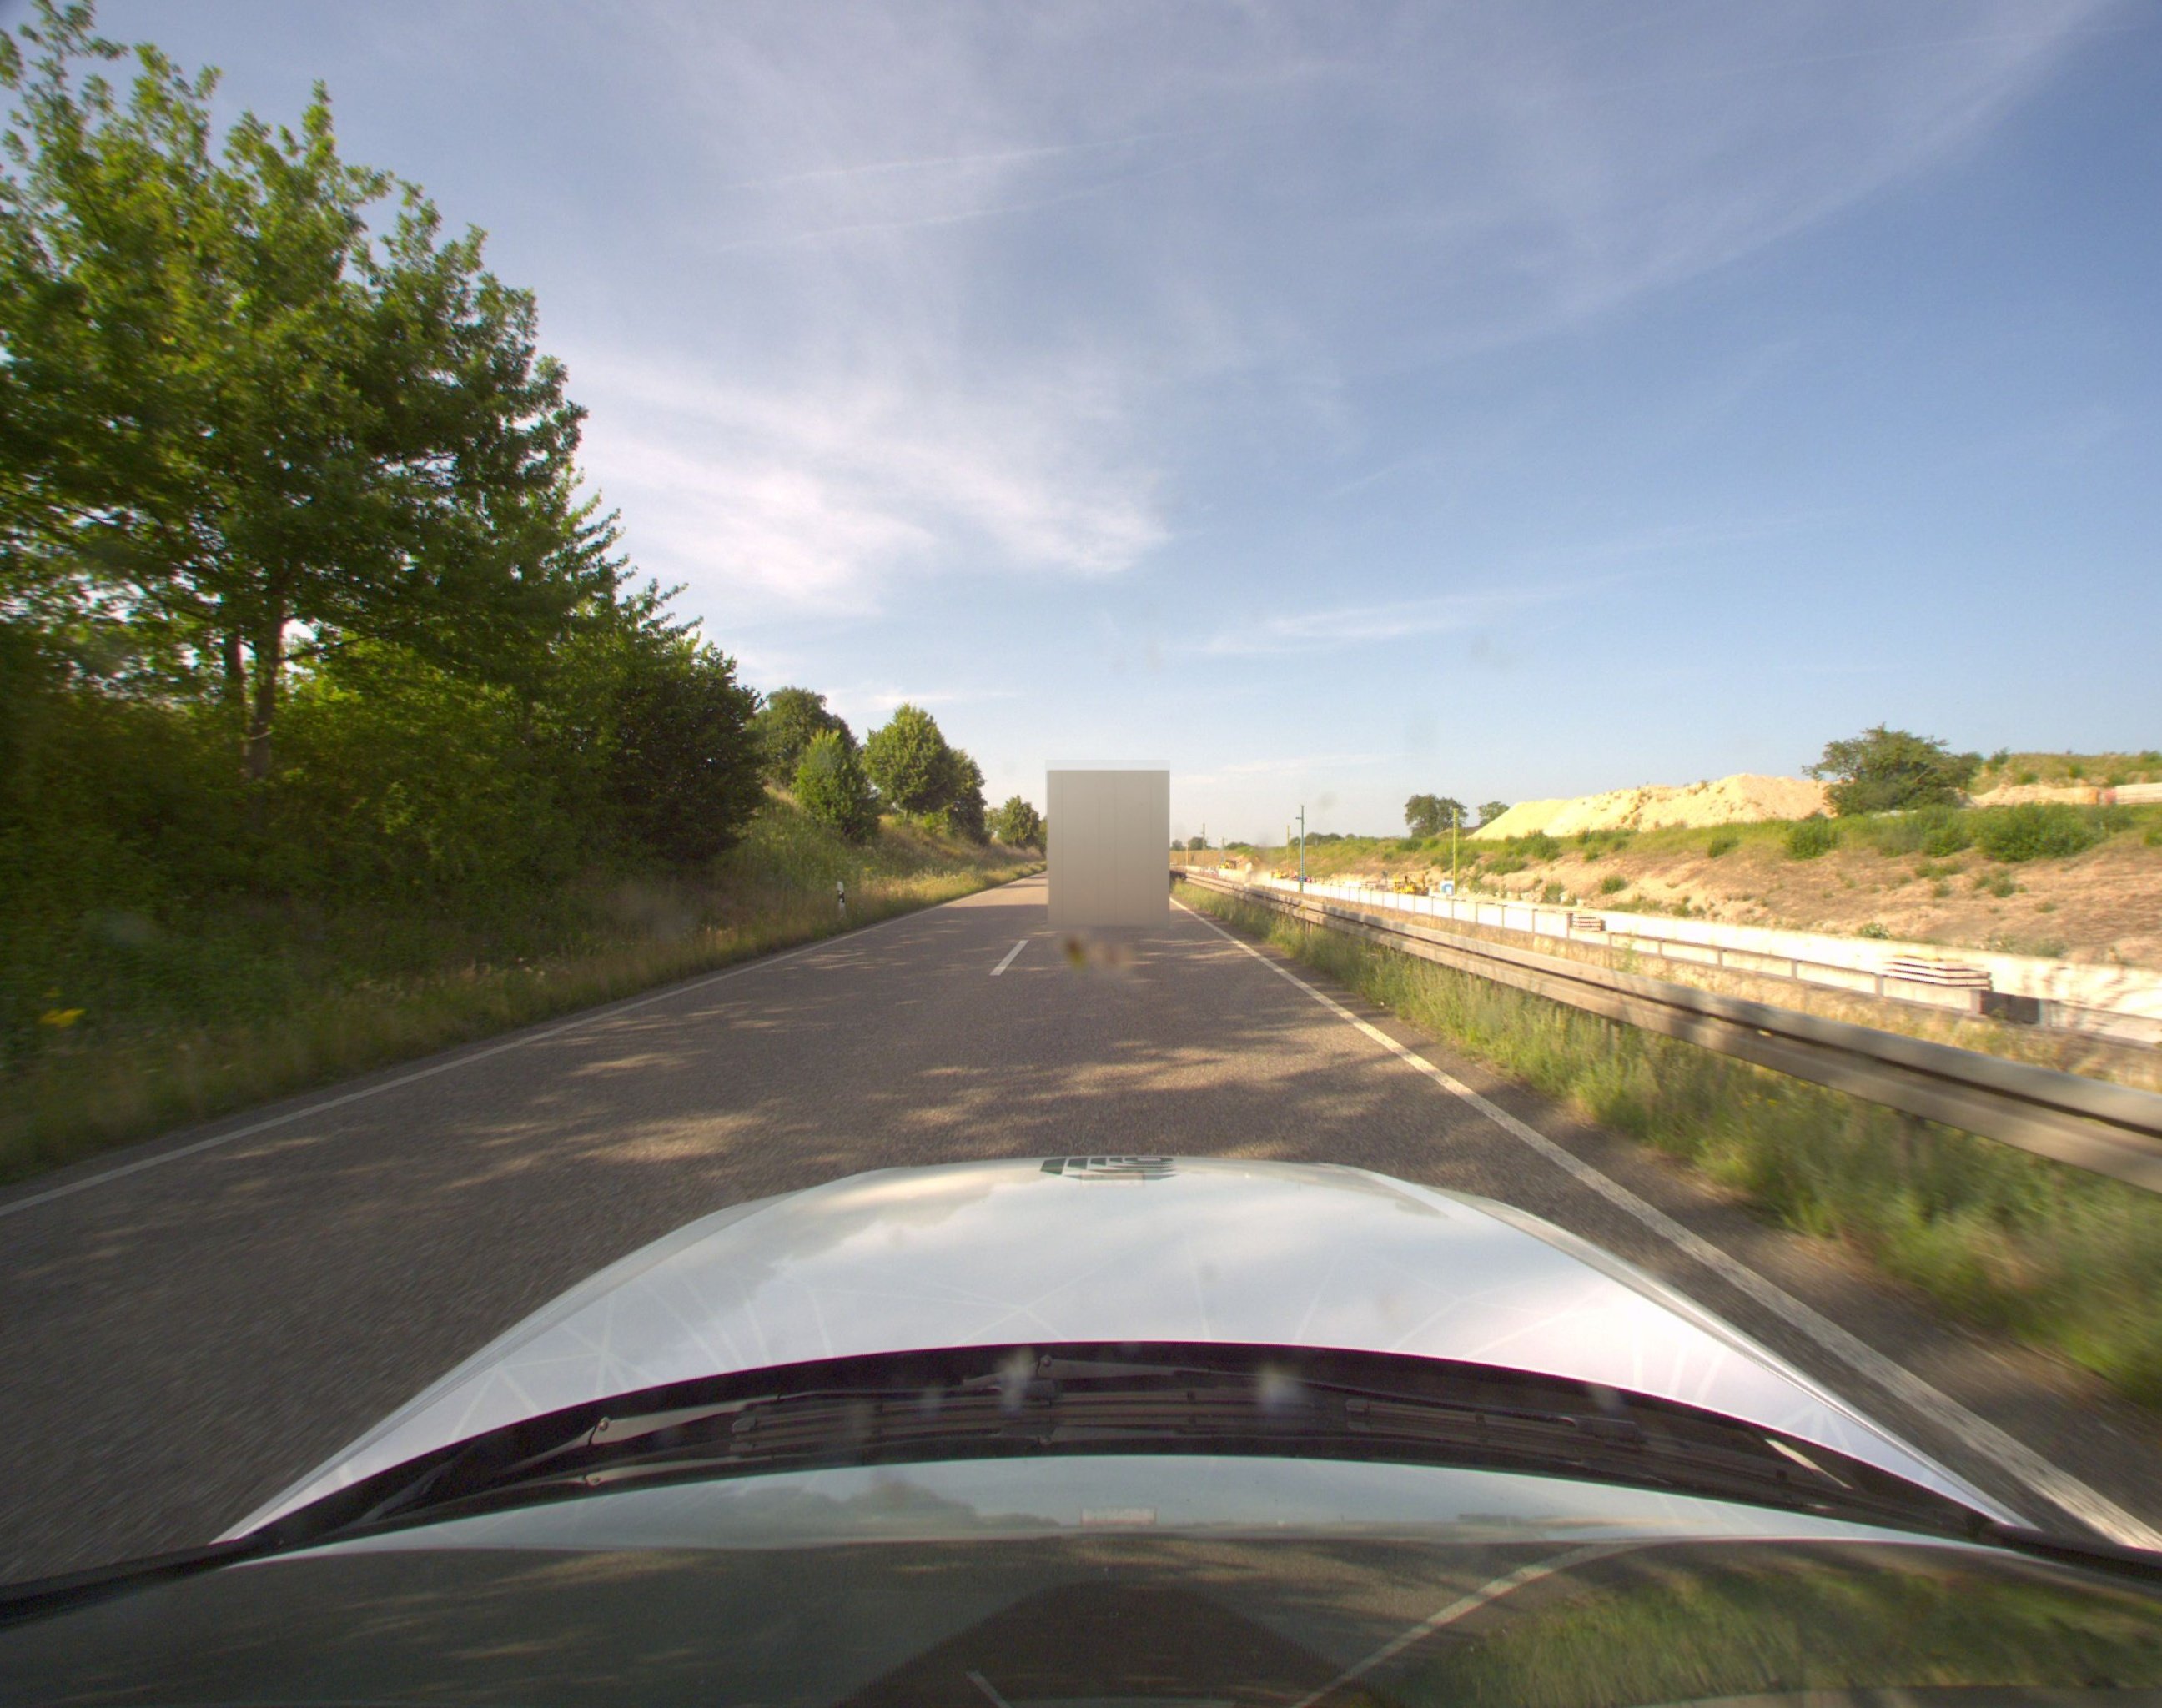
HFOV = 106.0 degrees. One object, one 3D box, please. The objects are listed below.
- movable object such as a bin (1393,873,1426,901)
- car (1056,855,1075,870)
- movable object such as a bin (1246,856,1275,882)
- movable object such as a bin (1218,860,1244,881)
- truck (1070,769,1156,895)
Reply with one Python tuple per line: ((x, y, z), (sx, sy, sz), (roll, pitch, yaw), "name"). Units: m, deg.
((32.520, 3.225, 80.602), (2.877, 2.661, 2.031), (0, 0, 26), "movable object such as a bin")
((-1.657, 0.922, 87.019), (1.736, 1.547, 4.314), (-1, 0, 2), "car")
((28.203, 2.273, 128.272), (2.787, 3.886, 7.537), (0, 0, 0), "movable object such as a bin")
((23.750, 2.535, 129.480), (2.613, 3.239, 8.072), (0, 0, 0), "movable object such as a bin")
((1.311, -0.815, 34.638), (3.141, 4.688, 8.443), (-1, 0, 1), "truck")
